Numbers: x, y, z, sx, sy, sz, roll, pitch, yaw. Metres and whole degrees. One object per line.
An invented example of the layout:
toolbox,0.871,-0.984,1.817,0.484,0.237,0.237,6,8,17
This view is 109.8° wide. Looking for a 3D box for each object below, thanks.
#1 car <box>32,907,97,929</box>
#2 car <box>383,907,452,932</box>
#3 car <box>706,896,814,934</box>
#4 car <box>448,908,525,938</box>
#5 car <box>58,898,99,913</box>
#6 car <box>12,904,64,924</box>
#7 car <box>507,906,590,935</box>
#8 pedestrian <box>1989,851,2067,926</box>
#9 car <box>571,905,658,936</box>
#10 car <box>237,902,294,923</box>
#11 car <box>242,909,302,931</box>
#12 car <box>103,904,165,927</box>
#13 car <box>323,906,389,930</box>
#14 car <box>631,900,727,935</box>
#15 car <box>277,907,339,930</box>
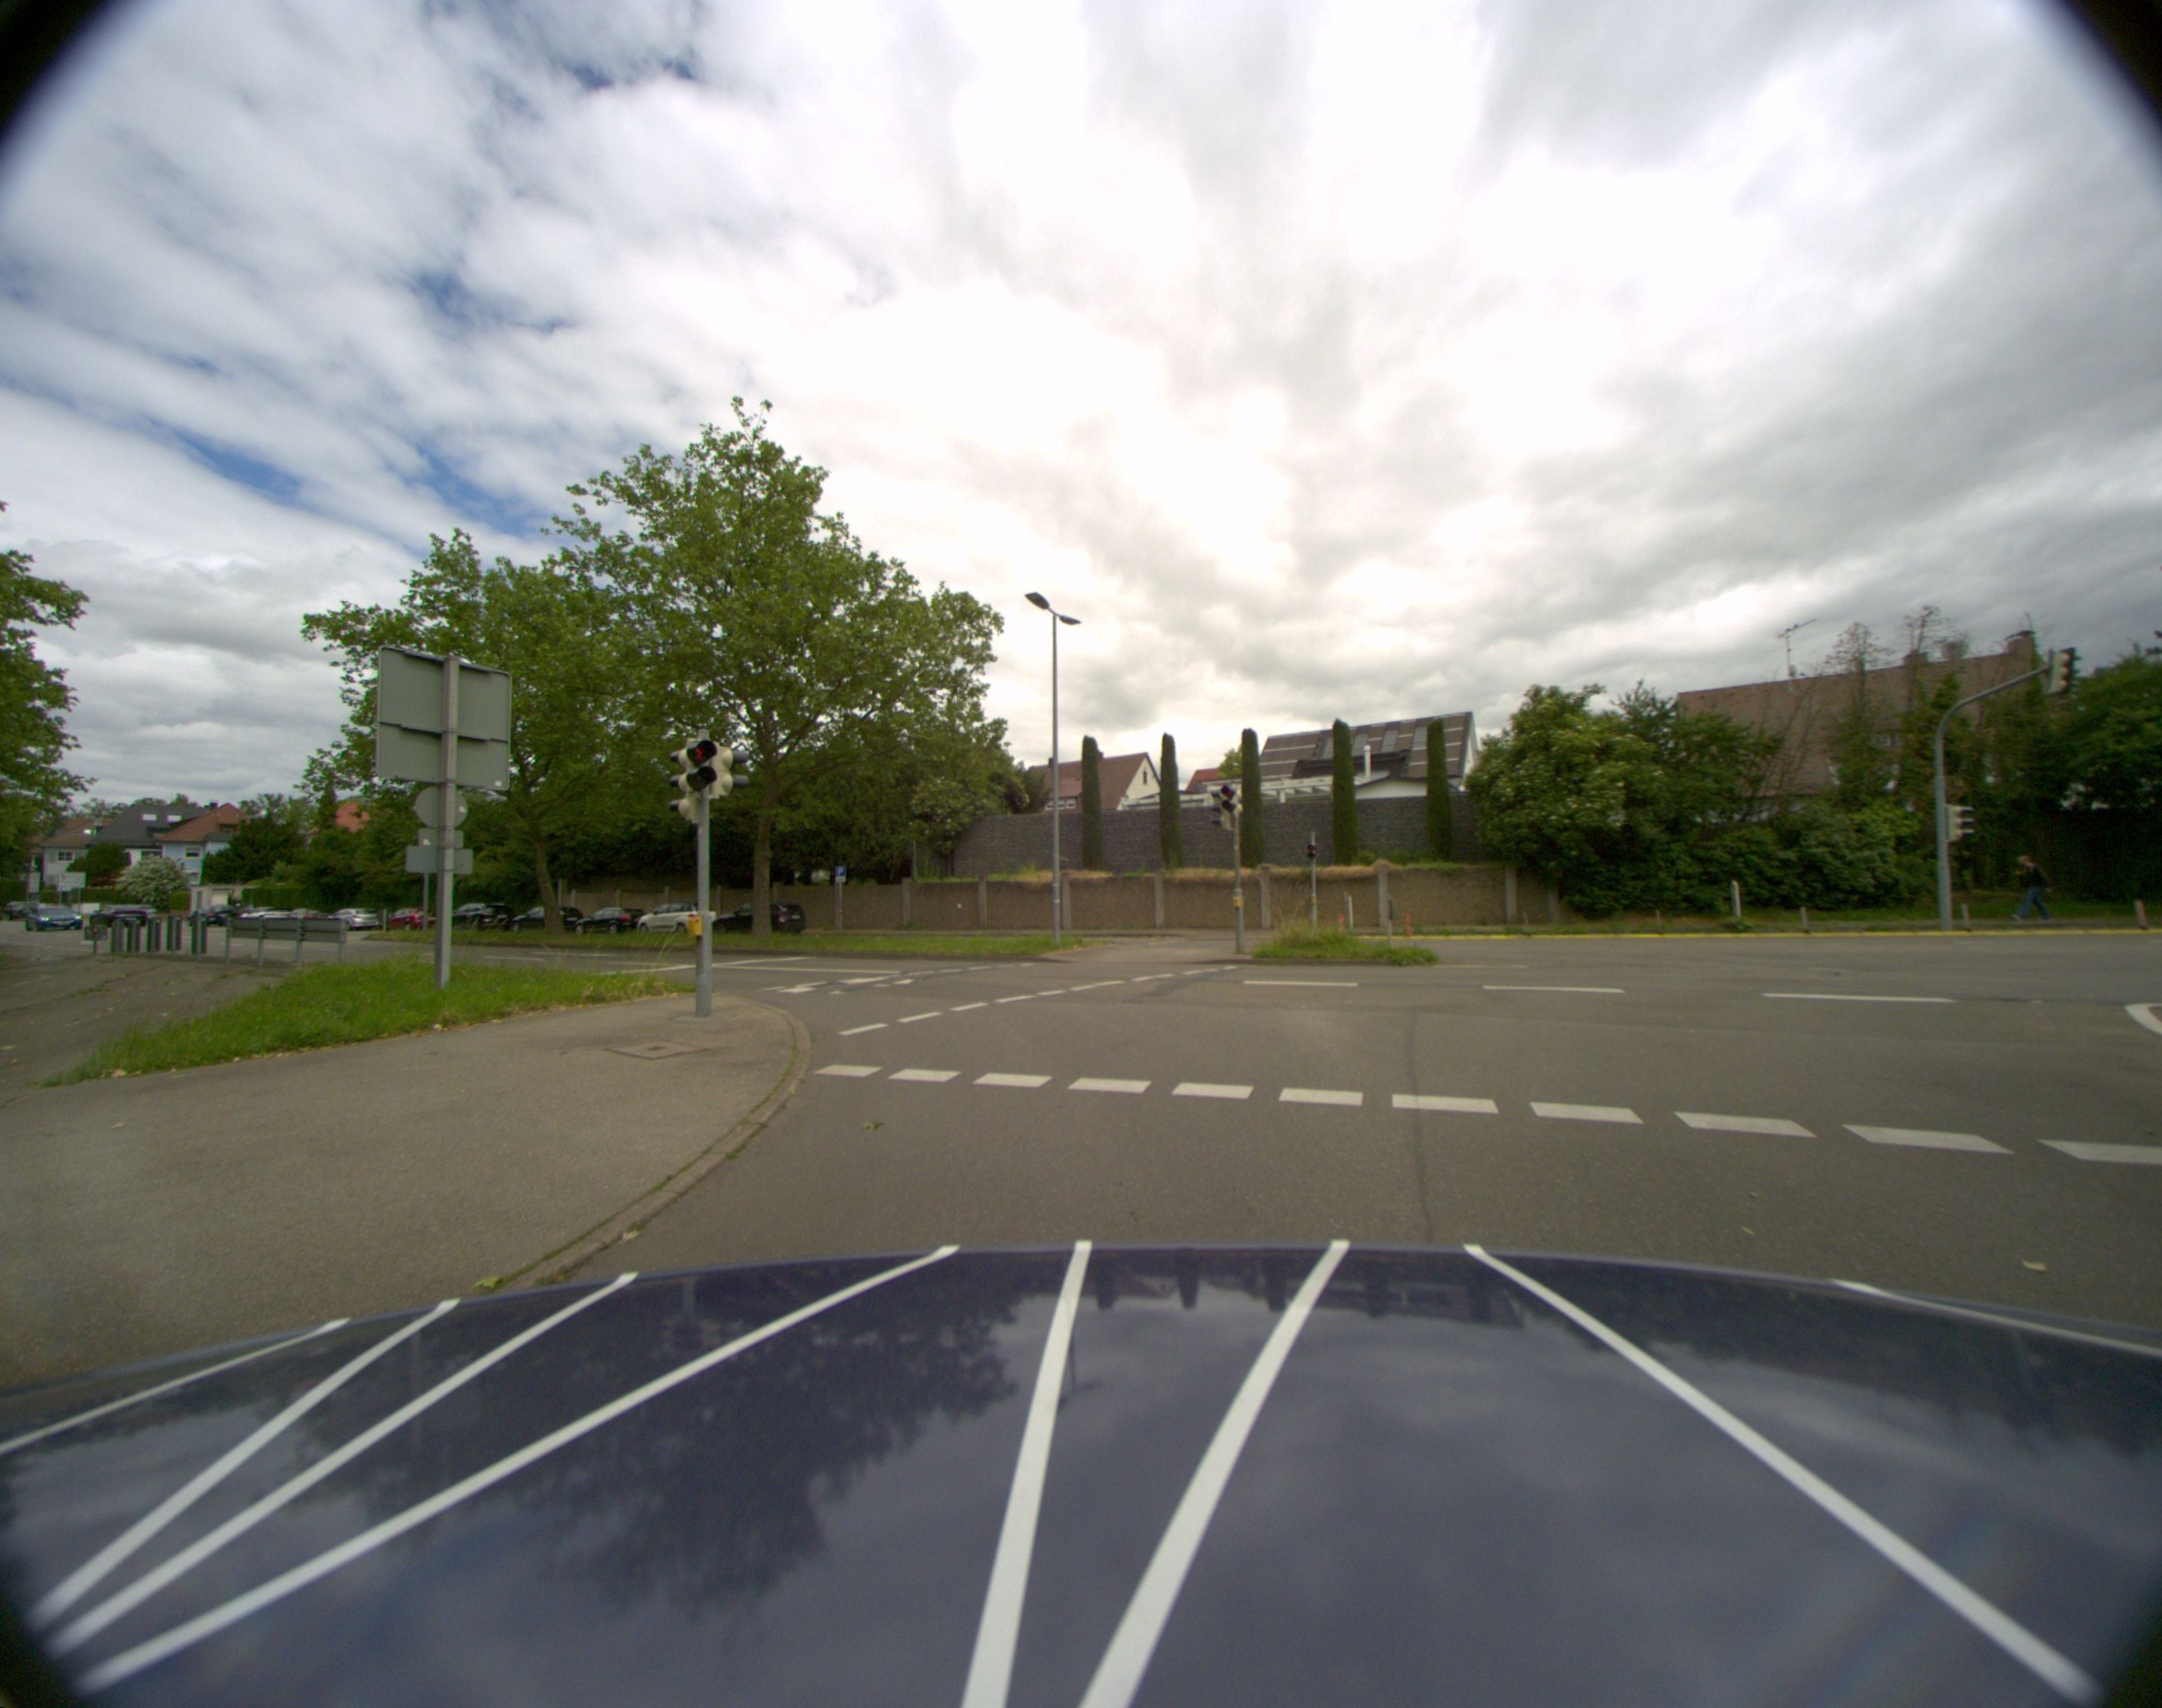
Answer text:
car,-69.298,4.360,51.777,4.137,1.419,1.802,-3,-5,25
car,-40.295,3.975,46.150,3.822,1.495,1.691,-2,-5,24
car,-14.397,2.743,34.110,4.452,1.605,1.801,-2,-5,22
car,-33.682,3.899,43.041,4.029,1.593,1.801,-2,-3,26
car,-92.949,4.751,70.439,3.822,1.321,1.690,-3,-2,28
car,-89.674,5.157,65.307,3.904,1.605,1.849,-2,-5,25
car,-28.542,3.545,40.709,4.029,1.495,1.802,-2,-5,24
pedestrian,26.173,0.944,21.026,0.854,2.001,0.953,-2,-2,5
car,-23.644,3.362,38.516,4.029,1.495,1.802,-2,-5,24
car,-60.131,4.357,56.031,3.822,1.495,1.691,-2,-5,24
car,-57.220,4.674,53.764,3.822,1.495,1.691,-2,-5,24
car,-69.541,4.514,55.794,4.576,1.605,1.802,-3,-5,26
car,-46.724,4.106,48.945,3.822,1.495,1.691,-2,-5,24
car,-19.379,3.068,36.645,4.208,1.605,1.801,-2,-5,23
car,-52.285,4.388,51.396,3.822,1.495,1.691,-2,-5,24
